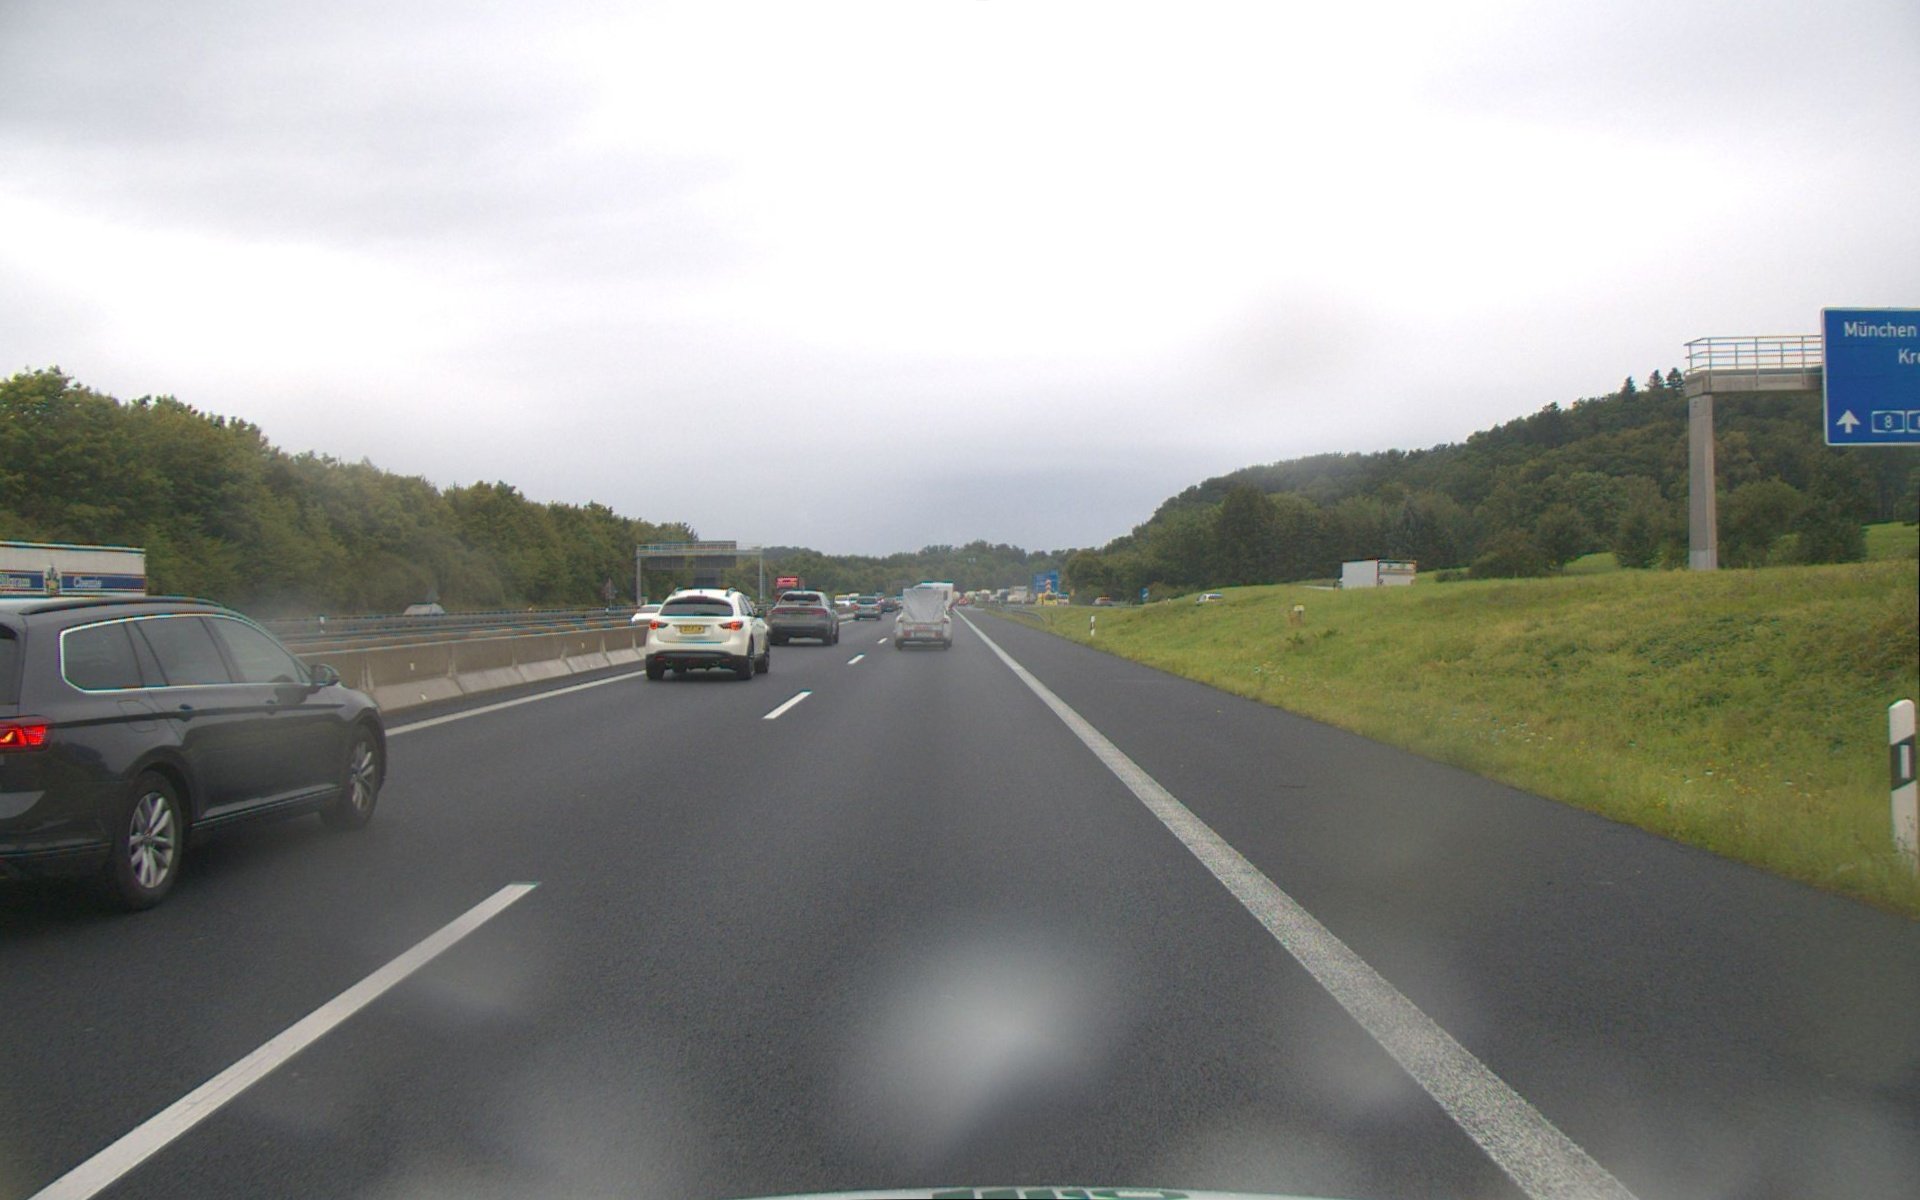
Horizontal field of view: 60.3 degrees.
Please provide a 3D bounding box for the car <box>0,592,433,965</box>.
[{"bbox_3d":[-4.551,0.709,9.028,1.750,1.484,4.802,1,0,1],"label":"car"}]

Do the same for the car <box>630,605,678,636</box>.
[{"bbox_3d":[-17.238,1.138,93.318,1.953,1.691,4.312,0,0,-1],"label":"car"}]

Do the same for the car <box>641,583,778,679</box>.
[{"bbox_3d":[-4.704,0.548,31.655,2.007,1.700,4.540,1,0,-1],"label":"car"}]

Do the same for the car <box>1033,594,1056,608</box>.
[{"bbox_3d":[9.292,0.116,182.169,1.955,1.579,3.995,1,0,-6],"label":"car"}]

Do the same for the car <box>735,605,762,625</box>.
[{"bbox_3d":[-17.345,1.188,136.019,1.689,1.580,4.581,1,0,-1],"label":"car"}]

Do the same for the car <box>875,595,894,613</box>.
[{"bbox_3d":[-7.254,0.388,158.868,1.612,1.601,3.999,1,0,0],"label":"car"}]

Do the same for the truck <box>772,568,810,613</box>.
[{"bbox_3d":[-18.543,-1.045,182.348,3.331,4.816,10.482,1,0,-1],"label":"truck"}]

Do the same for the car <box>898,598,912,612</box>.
[{"bbox_3d":[-6.662,0.617,200.071,1.612,1.601,3.999,1,0,0],"label":"car"}]

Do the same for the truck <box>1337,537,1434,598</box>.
[{"bbox_3d":[27.790,-2.073,108.548,3.749,3.723,8.265,1,0,-4],"label":"truck"}]

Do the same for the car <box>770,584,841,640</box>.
[{"bbox_3d":[-5.008,0.379,54.055,1.935,1.733,4.801,1,0,-1],"label":"car"}]

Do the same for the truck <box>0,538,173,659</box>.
[{"bbox_3d":[-32.139,-0.026,55.710,3.113,3.875,17.133,-1,0,0],"label":"truck"}]

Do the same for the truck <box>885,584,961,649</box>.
[{"bbox_3d":[-1.167,0.482,51.772,2.197,1.871,6.582,0,0,-1],"label":"truck"}]

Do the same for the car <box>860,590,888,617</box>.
[{"bbox_3d":[-5.851,0.241,112.957,1.703,1.825,3.999,1,0,-1],"label":"car"}]

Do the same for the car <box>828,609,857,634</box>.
[{"bbox_3d":[-8.173,1.477,115.487,1.782,1.691,4.016,0,0,-1],"label":"car"}]

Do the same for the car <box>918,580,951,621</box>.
[{"bbox_3d":[-1.783,0.033,116.858,2.284,2.773,6.538,0,0,-1],"label":"car"}]
